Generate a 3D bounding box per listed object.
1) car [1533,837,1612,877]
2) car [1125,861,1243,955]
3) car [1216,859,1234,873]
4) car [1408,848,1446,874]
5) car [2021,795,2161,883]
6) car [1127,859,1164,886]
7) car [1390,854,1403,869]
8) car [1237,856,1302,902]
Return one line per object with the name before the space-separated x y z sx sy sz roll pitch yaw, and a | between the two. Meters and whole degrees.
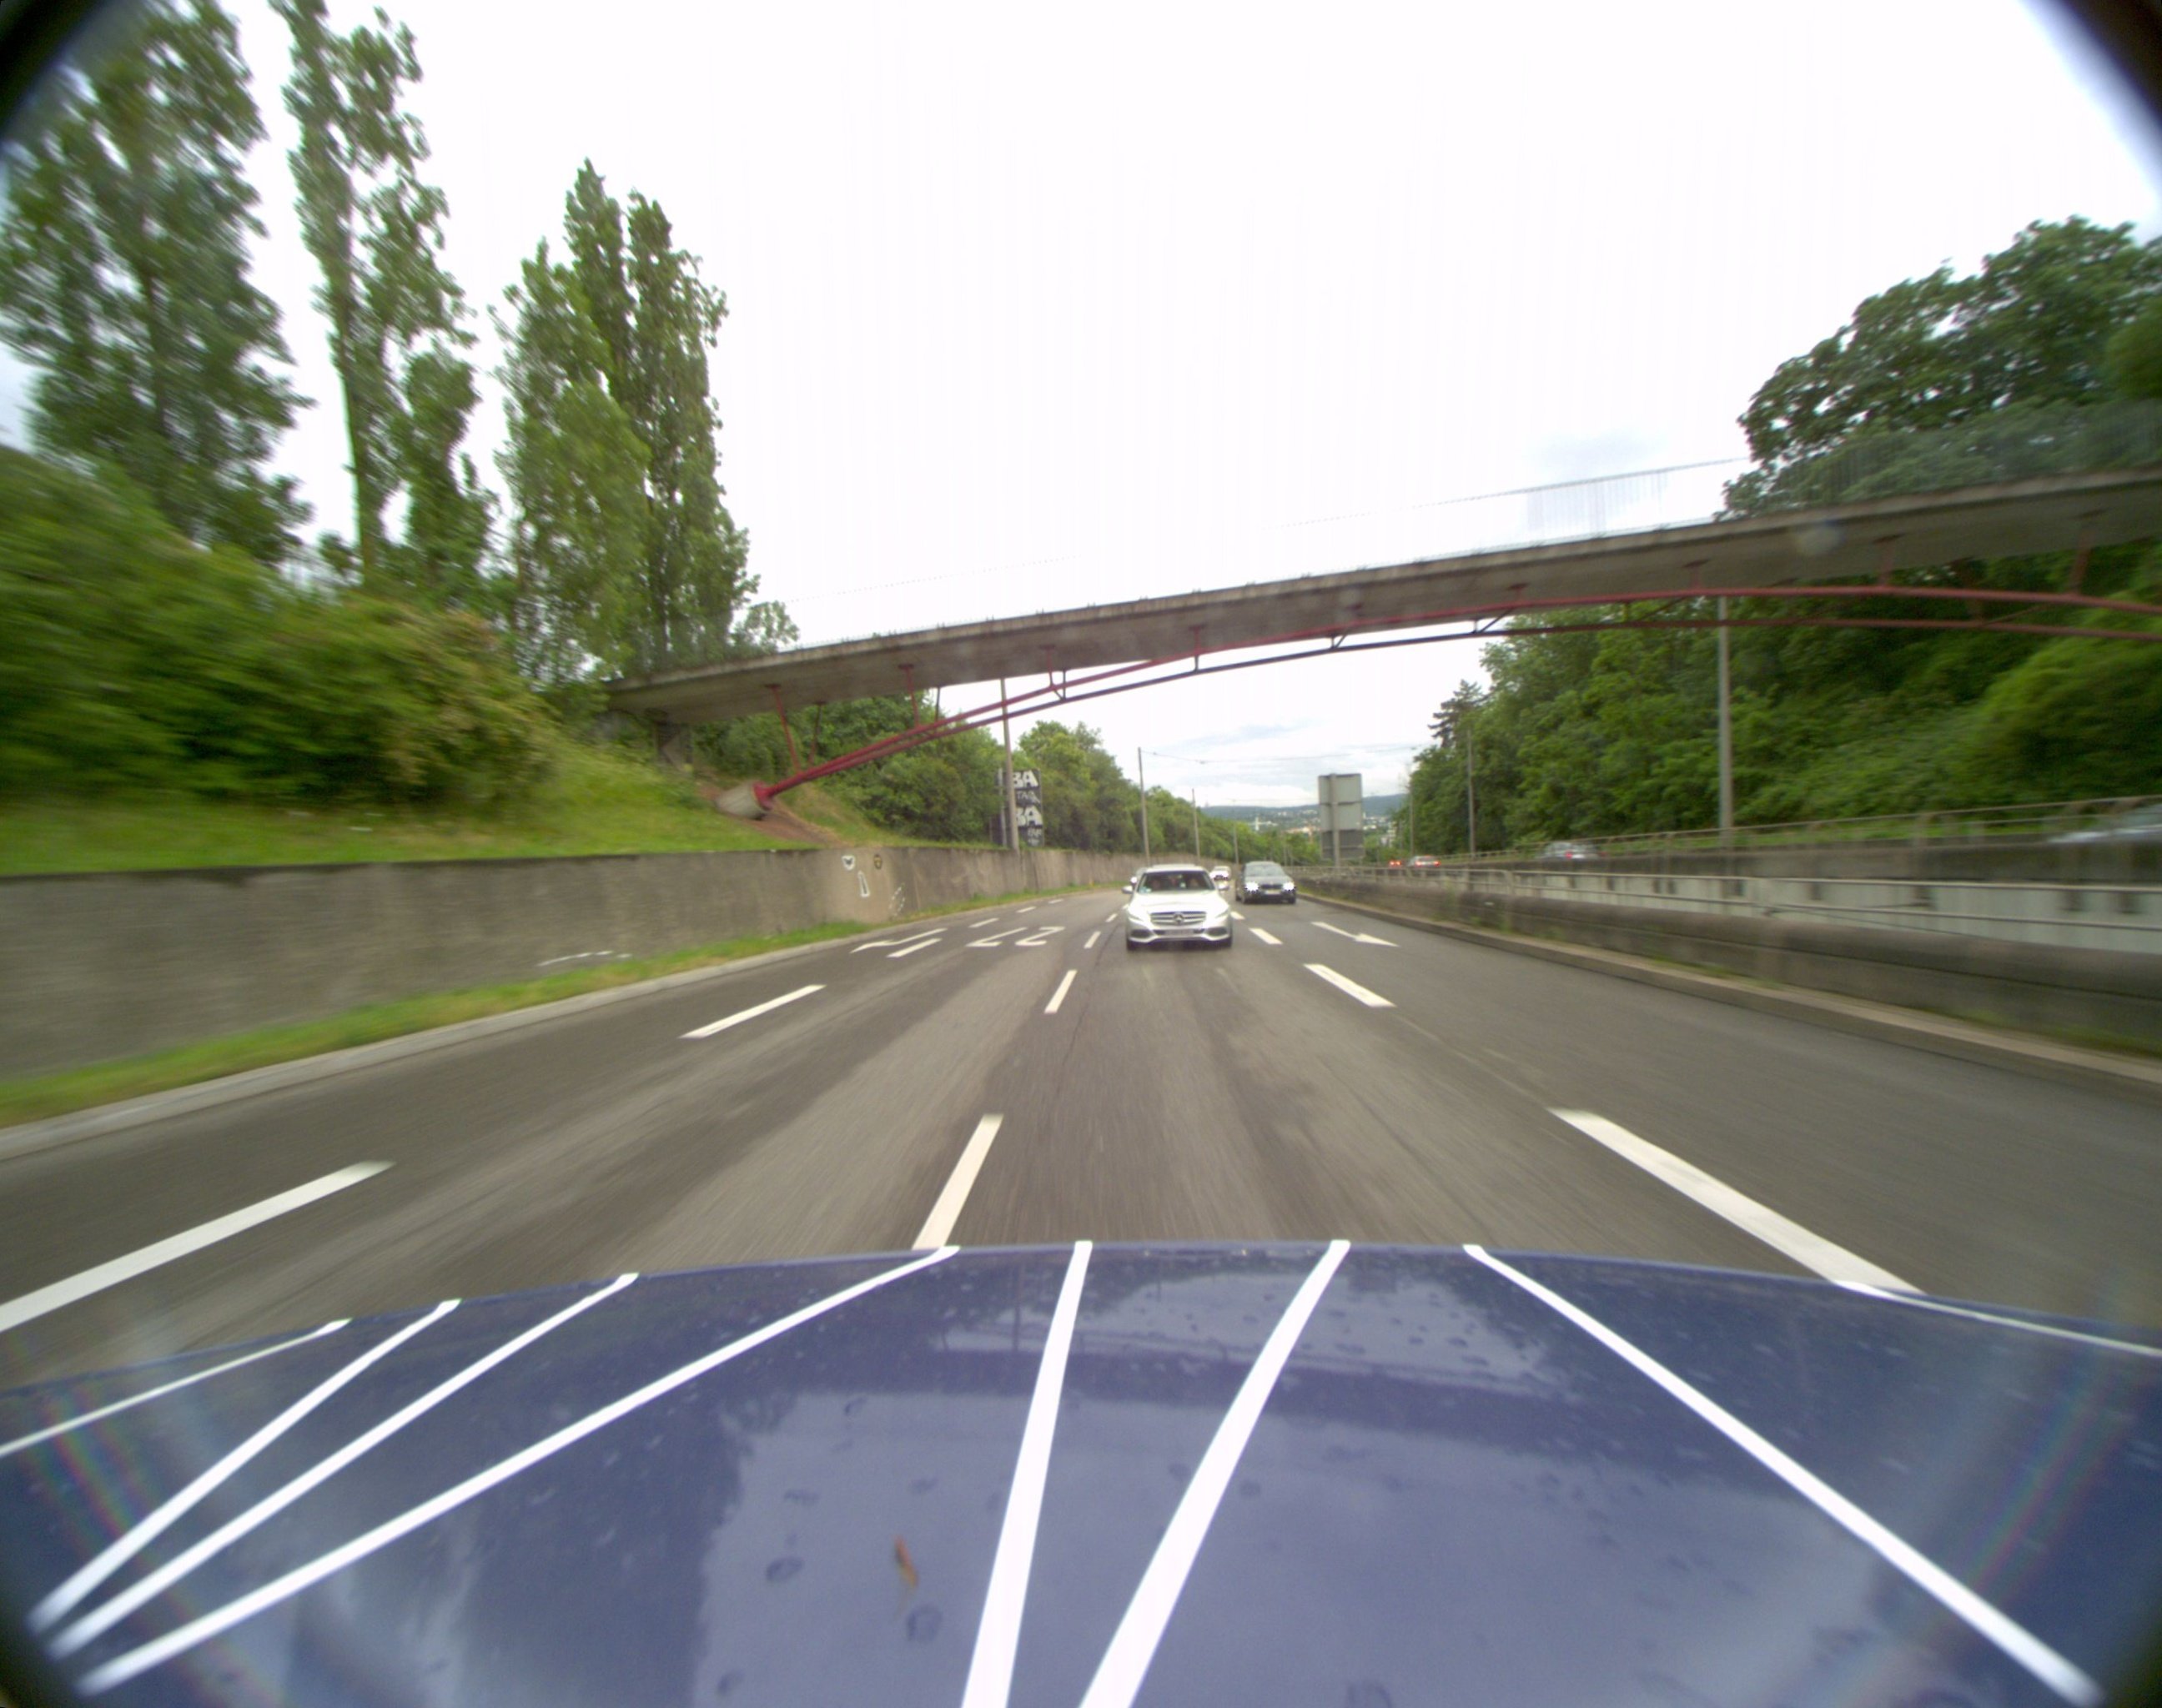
car | 25.292 0.156 39.270 1.674 1.904 4.562 -1 0 9
car | 1.837 0.905 14.522 1.860 1.395 4.316 -2 0 5
car | 18.114 1.511 95.466 1.808 1.501 4.004 -4 0 14
car | 25.569 0.542 56.281 1.673 1.819 4.004 -1 -1 11
car | 22.121 -0.302 14.808 1.998 1.711 4.706 -1 0 5
car | 4.133 1.124 48.114 1.808 1.501 4.003 -4 0 11
car | 61.515 1.478 147.928 2.184 2.718 6.356 -1 -1 24
car | 6.595 0.838 26.943 1.729 1.462 3.890 -1 -1 6
